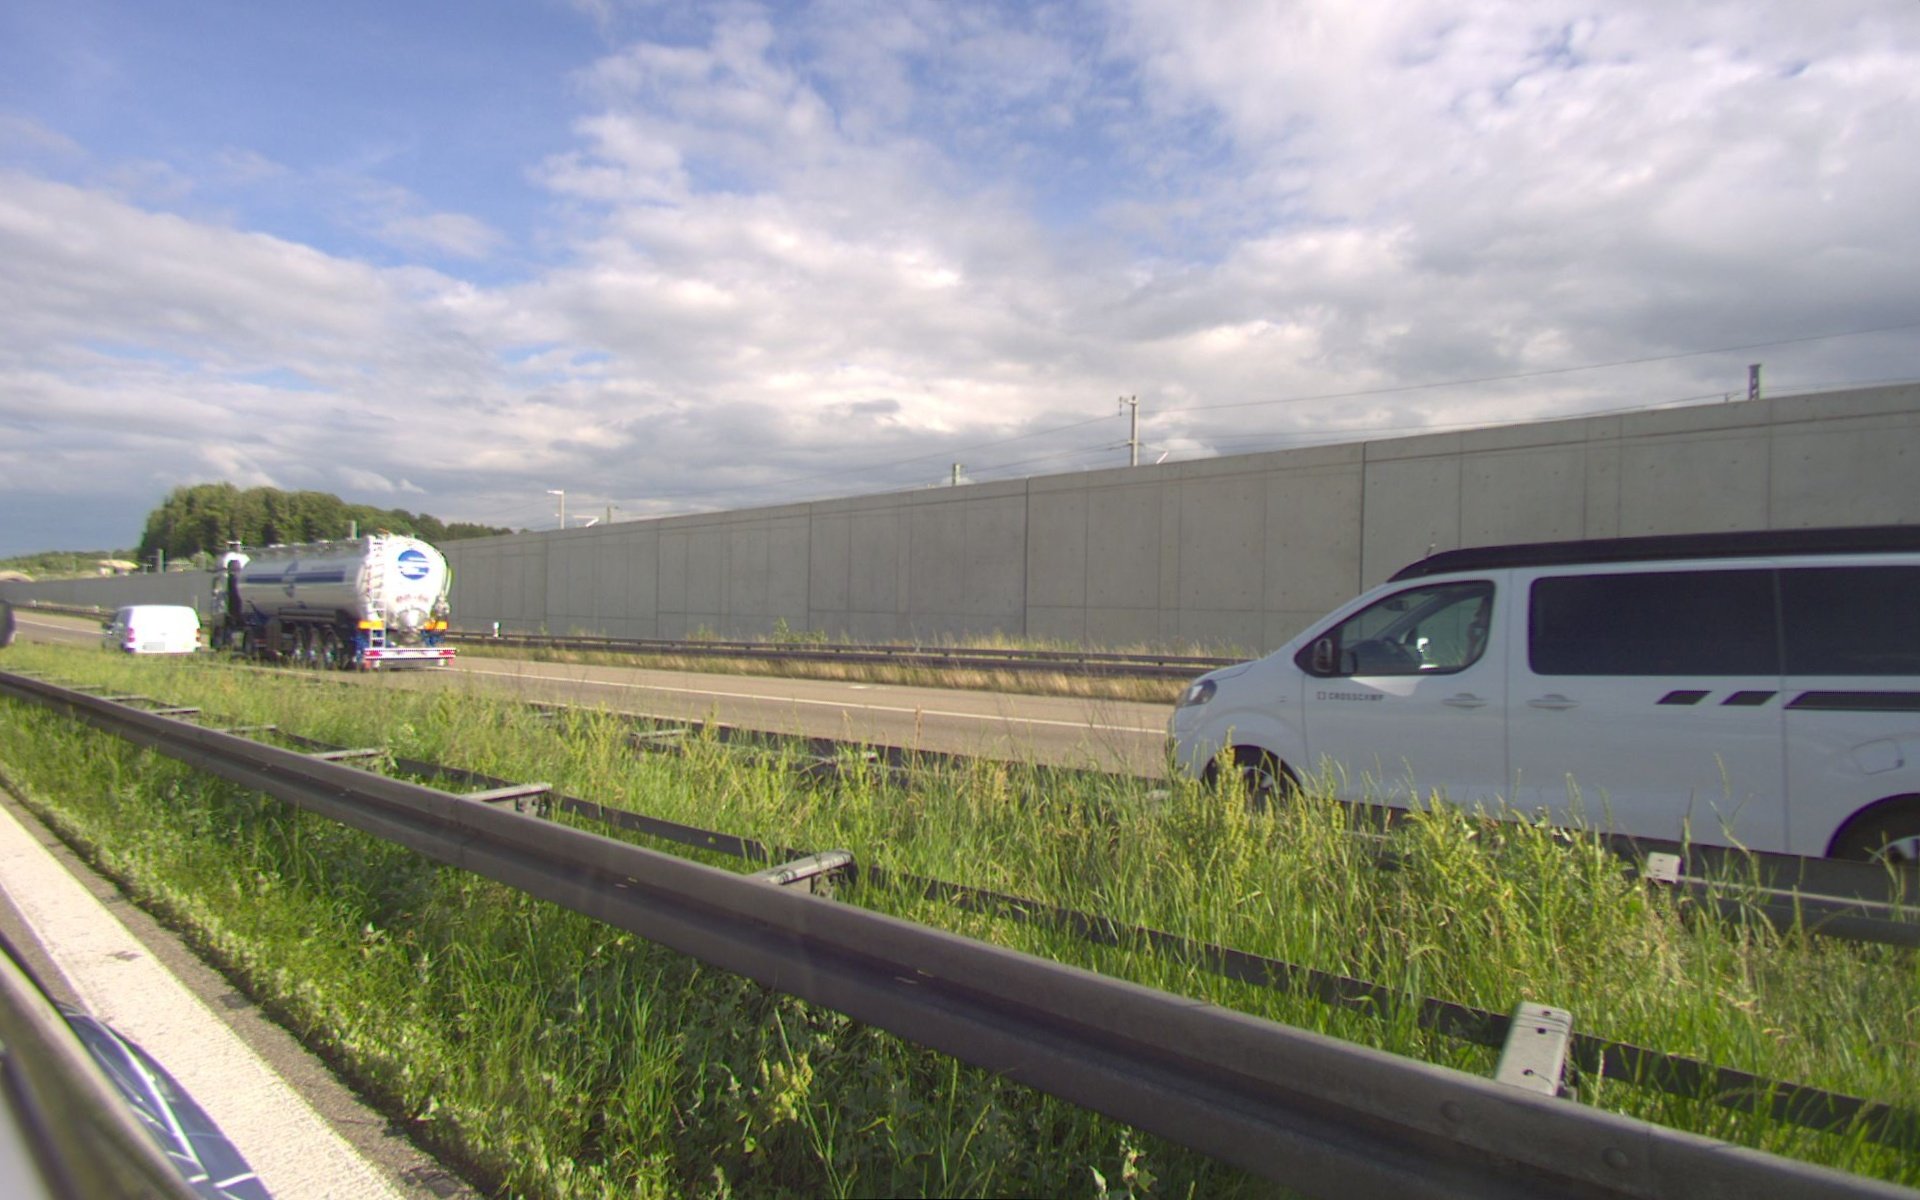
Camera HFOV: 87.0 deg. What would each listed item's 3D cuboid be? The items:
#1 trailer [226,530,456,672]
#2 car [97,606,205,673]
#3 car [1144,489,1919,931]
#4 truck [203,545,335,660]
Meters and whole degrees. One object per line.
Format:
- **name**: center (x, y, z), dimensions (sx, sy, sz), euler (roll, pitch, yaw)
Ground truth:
- **trailer**: center (-19.970, 0.102, 32.076), dimensions (12.535, 3.799, 2.514), euler (0, -2, 41)
- **car**: center (-24.193, 1.118, 30.210), dimensions (4.279, 1.847, 1.840), euler (-1, 0, 42)
- **car**: center (3.702, 0.515, 6.058), dimensions (4.785, 1.898, 1.972), euler (-1, -3, 41)
- **truck**: center (-24.861, 0.145, 36.339), dimensions (5.414, 3.827, 2.526), euler (-1, -2, 41)
